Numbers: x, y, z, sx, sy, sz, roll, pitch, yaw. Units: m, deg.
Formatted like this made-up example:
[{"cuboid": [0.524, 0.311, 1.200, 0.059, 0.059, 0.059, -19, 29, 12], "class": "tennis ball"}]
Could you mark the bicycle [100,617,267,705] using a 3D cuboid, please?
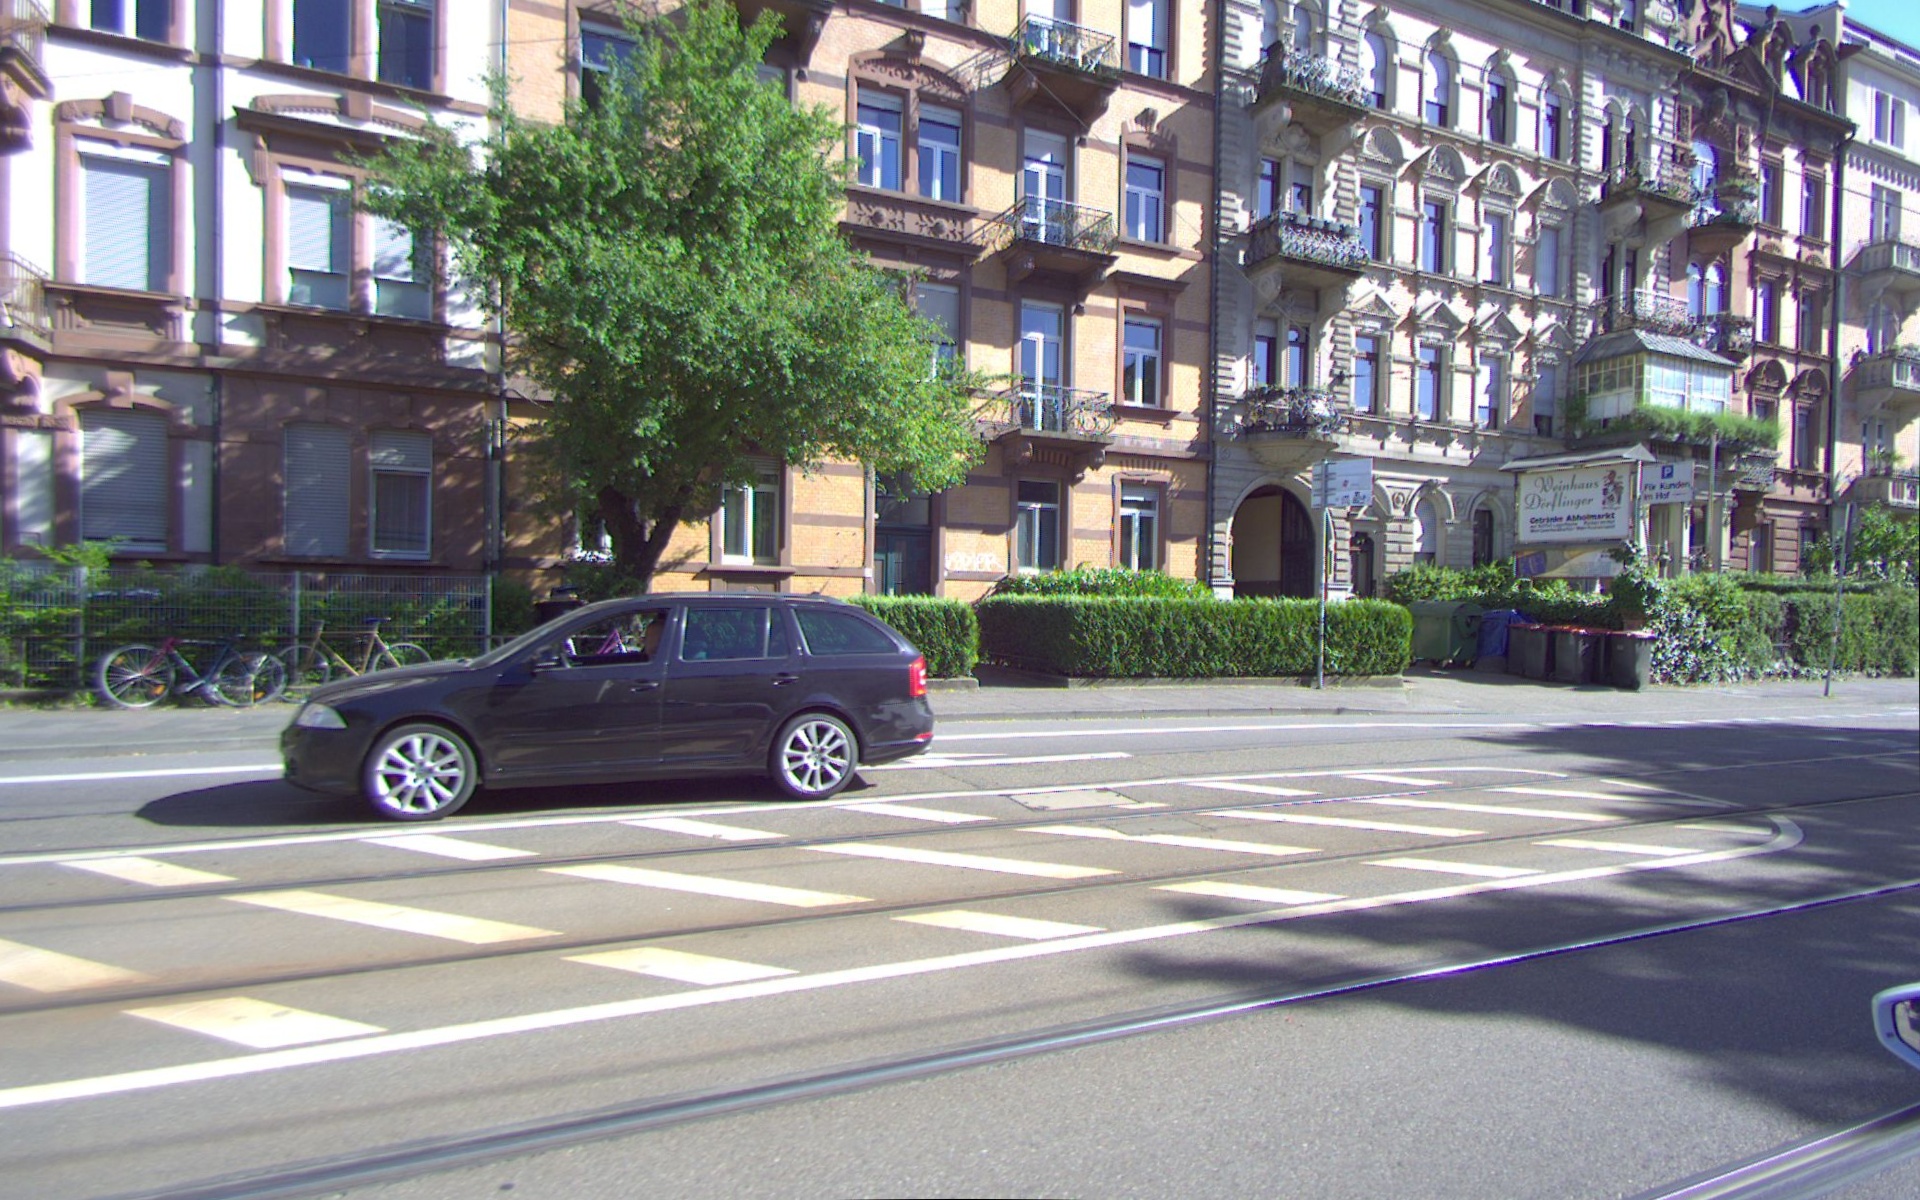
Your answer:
[{"cuboid": [-8.670, 0.675, 11.256, 1.430, 0.938, 0.341, 1, 2, -20], "class": "bicycle"}]

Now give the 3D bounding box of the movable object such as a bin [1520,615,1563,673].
[{"cuboid": [11.636, 0.874, 20.112, 0.533, 1.100, 0.478, 1, 2, -22], "class": "movable object such as a bin"}]

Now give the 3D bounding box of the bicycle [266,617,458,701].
[{"cuboid": [-7.042, 0.694, 11.896, 1.913, 0.938, 0.341, 1, 2, -20], "class": "bicycle"}]

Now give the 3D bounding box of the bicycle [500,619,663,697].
[{"cuboid": [-4.801, 0.733, 12.830, 1.913, 0.938, 0.341, 1, 2, -20], "class": "bicycle"}]

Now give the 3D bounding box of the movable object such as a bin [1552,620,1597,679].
[{"cuboid": [11.942, 0.959, 19.524, 0.533, 1.100, 0.478, 1, 2, -22], "class": "movable object such as a bin"}]

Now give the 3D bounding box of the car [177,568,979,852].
[{"cuboid": [-2.478, 0.633, 7.437, 4.897, 1.539, 1.827, 1, 3, -24], "class": "car"}]

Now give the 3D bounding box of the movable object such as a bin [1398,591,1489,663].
[{"cuboid": [10.609, 0.582, 22.059, 1.153, 1.467, 1.316, 1, 2, -22], "class": "movable object such as a bin"}]

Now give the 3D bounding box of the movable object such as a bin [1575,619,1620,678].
[{"cuboid": [12.507, 0.946, 19.722, 0.533, 1.100, 0.478, 1, 2, -22], "class": "movable object such as a bin"}]

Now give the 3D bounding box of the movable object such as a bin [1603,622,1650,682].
[{"cuboid": [12.729, 0.979, 19.191, 0.533, 1.100, 0.478, 1, 2, -22], "class": "movable object such as a bin"}]
